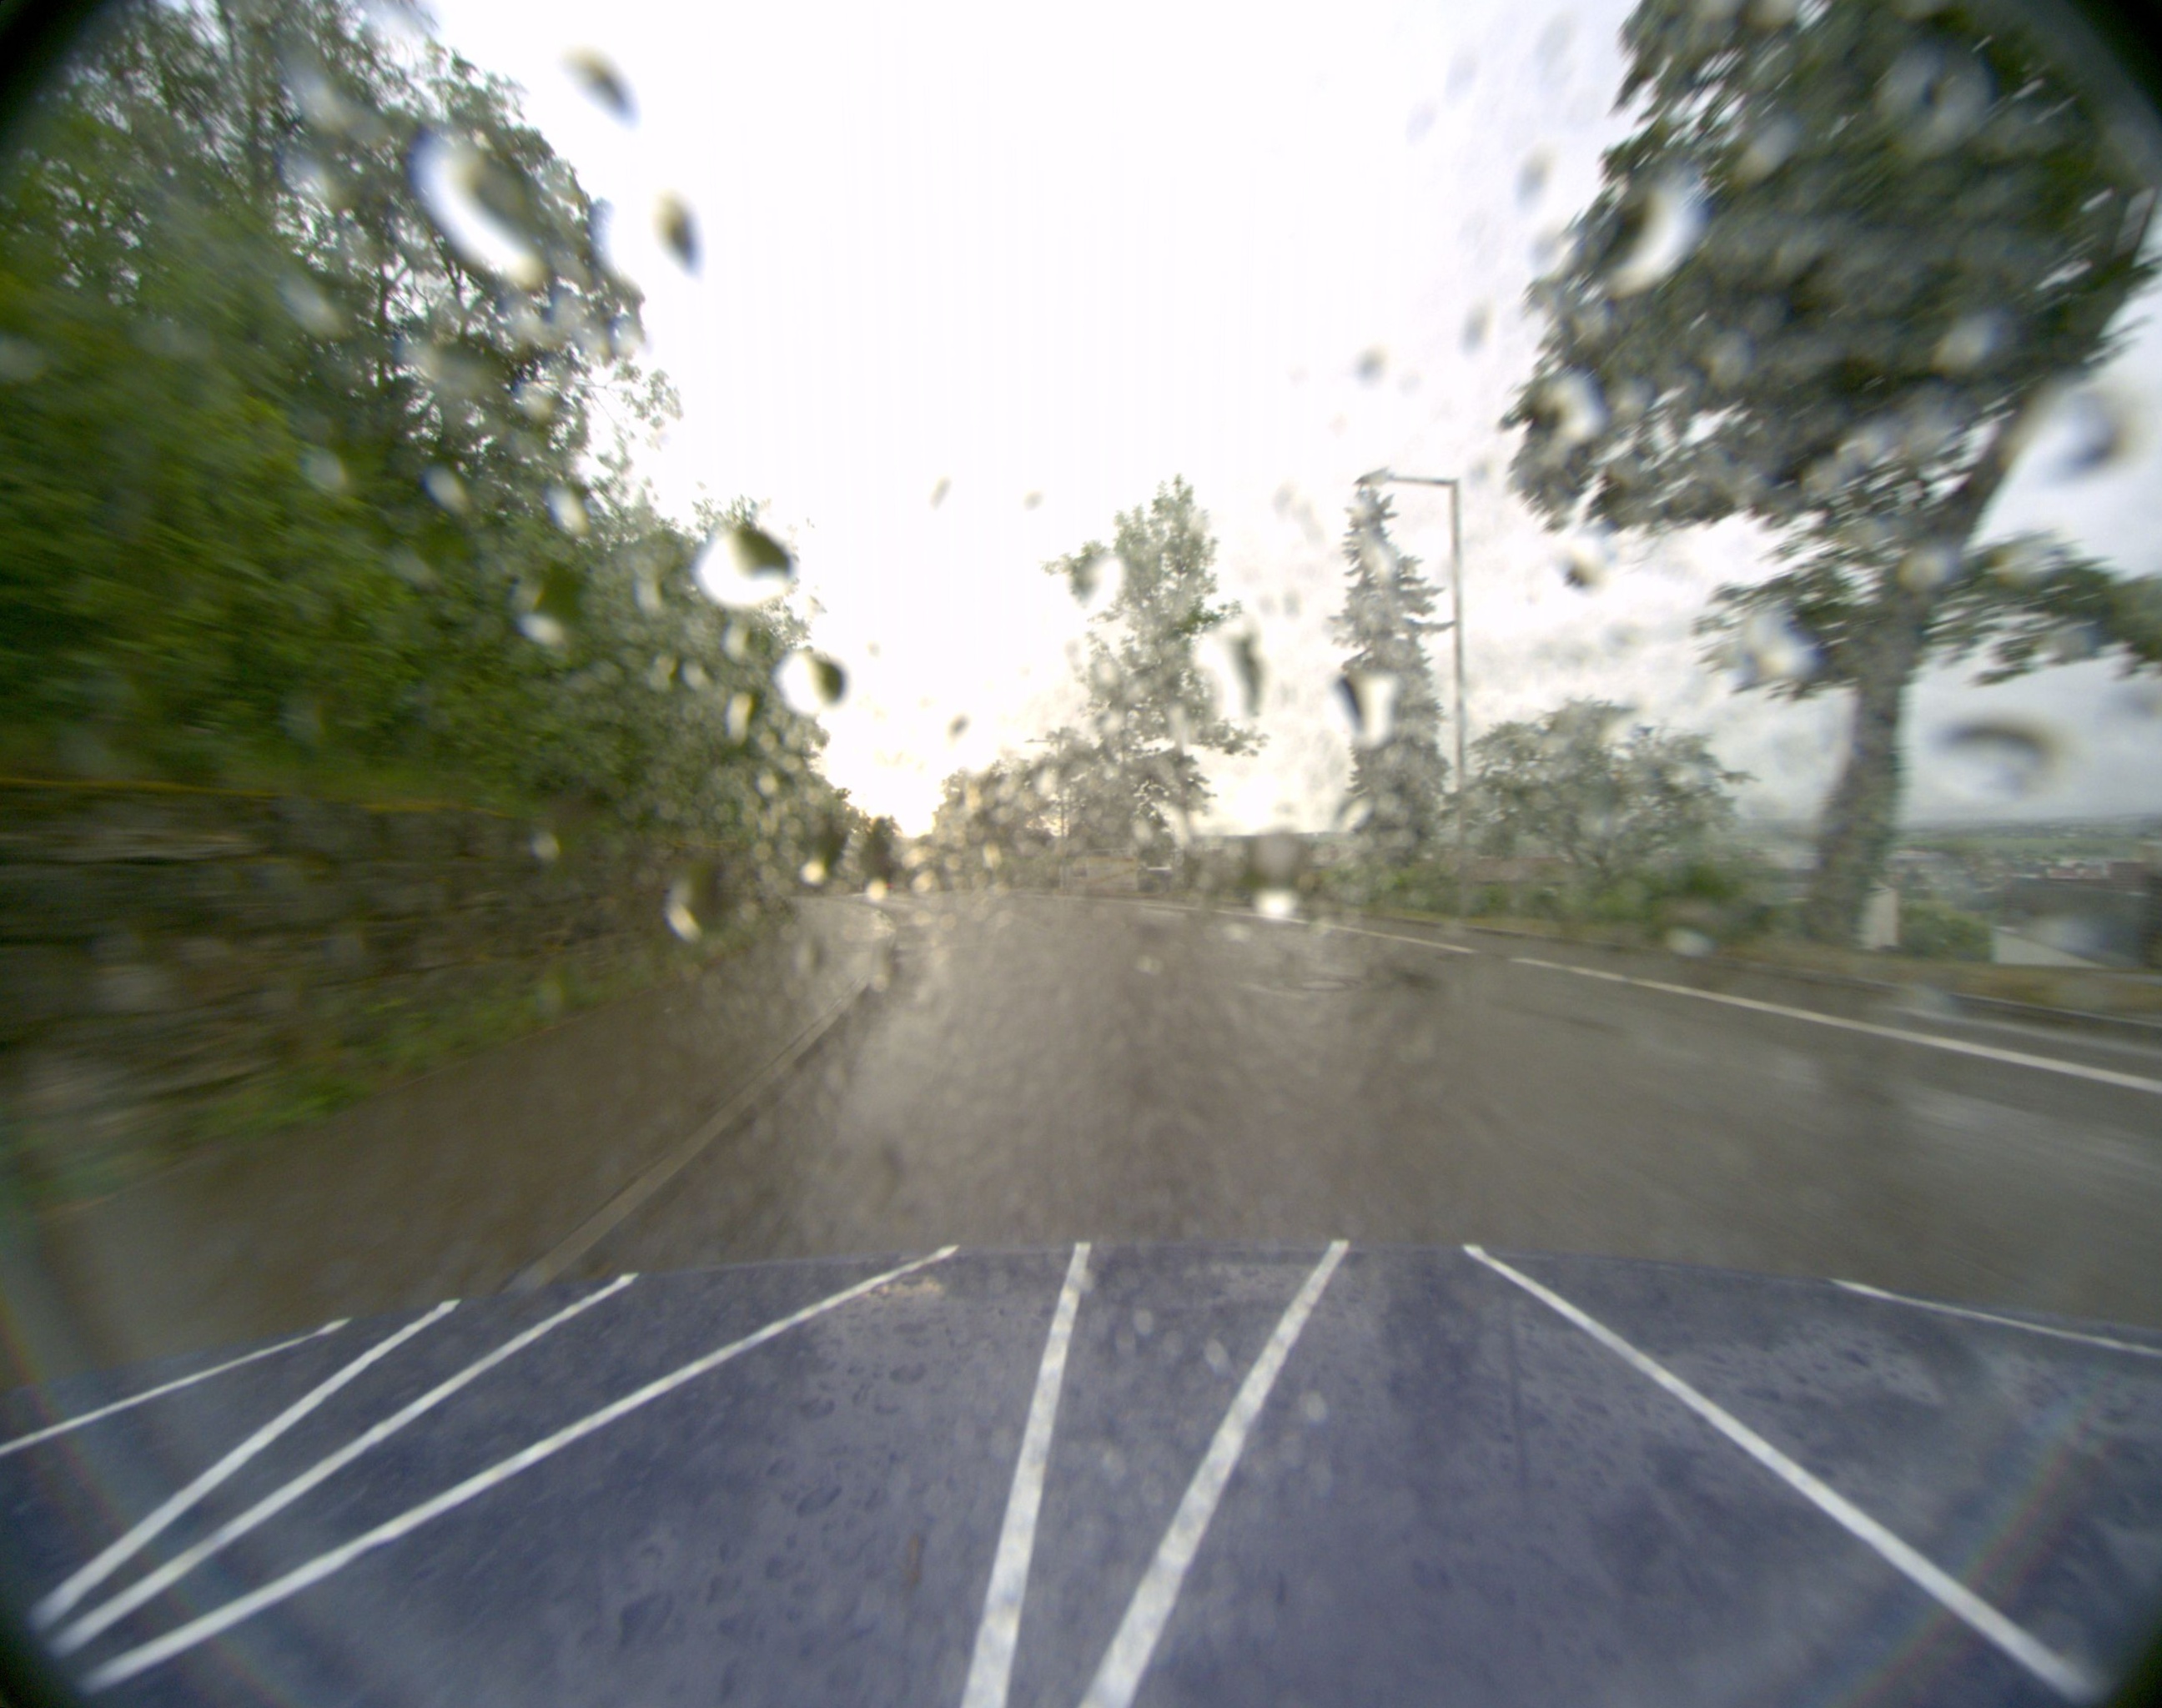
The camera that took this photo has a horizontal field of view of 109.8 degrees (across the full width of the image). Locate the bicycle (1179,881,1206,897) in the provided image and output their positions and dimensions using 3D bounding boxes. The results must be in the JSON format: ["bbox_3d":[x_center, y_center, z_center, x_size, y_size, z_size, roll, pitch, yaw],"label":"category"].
[{"bbox_3d":[7.177,2.228,49.008,1.665,0.959,0.430,1,1,29],"label":"bicycle"}]

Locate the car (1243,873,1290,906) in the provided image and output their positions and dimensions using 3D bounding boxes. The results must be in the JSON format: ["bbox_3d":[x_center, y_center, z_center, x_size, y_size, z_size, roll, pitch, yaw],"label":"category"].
[{"bbox_3d":[10.828,2.039,44.148,1.782,1.247,4.250,3,7,25],"label":"car"}]

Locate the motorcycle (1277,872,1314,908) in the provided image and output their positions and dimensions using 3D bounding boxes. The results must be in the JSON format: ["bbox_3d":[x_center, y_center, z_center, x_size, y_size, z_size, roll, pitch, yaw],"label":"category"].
[{"bbox_3d":[12.282,2.032,43.331,1.215,1.260,3.876,-5,6,27],"label":"motorcycle"}]

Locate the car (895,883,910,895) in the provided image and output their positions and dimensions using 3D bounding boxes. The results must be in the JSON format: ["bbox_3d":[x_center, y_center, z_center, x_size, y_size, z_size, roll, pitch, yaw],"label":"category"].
[{"bbox_3d":[-24.469,4.732,104.062,1.838,1.511,4.623,-1,-1,-12],"label":"car"}]

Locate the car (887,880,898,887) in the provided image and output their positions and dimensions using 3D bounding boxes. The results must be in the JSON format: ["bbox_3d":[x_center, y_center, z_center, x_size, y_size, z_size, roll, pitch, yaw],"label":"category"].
[{"bbox_3d":[-50.707,7.885,204.374,1.927,1.637,4.538,-1,-1,-26],"label":"car"}]
